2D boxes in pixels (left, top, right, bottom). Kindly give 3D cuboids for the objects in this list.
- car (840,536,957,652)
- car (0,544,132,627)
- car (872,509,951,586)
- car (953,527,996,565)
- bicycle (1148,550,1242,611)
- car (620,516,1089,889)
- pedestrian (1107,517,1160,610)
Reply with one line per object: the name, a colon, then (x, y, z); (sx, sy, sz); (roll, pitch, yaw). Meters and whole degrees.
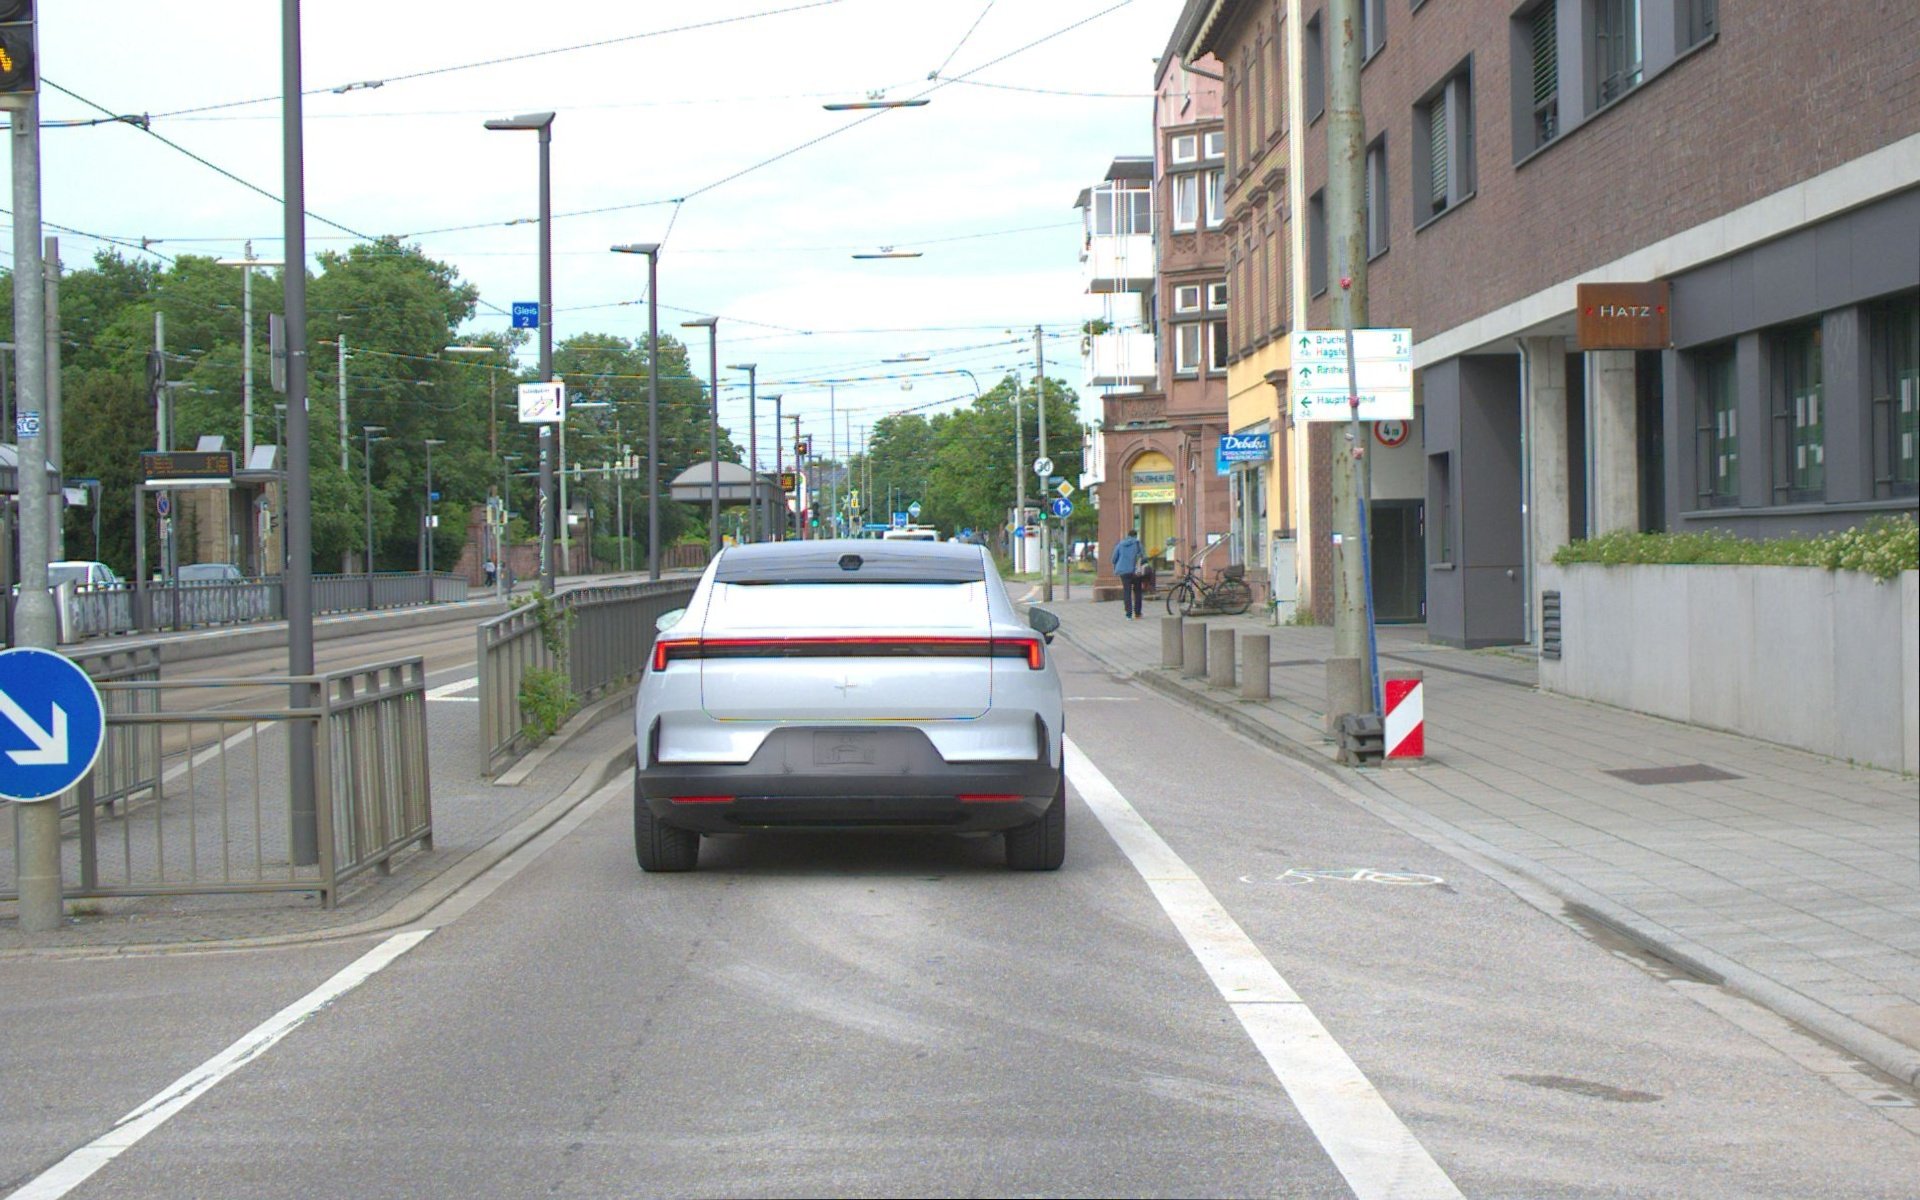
car: (-0.903, -0.106, 51.579); (1.681, 1.682, 3.824); (0, 0, 0)
car: (-17.741, -0.312, 67.804); (1.864, 1.481, 4.000); (-3, 1, -1)
car: (-1.557, -1.646, 109.300); (2.225, 2.394, 5.124); (0, 0, -4)
car: (0.951, -3.591, 228.488); (2.807, 2.496, 5.722); (0, 0, -1)
bicycle: (4.723, -0.396, 69.082); (1.777, 1.126, 0.642); (-3, 1, -1)
car: (-0.619, 0.424, 16.612); (1.999, 1.575, 4.001); (0, 0, -5)
pedestrian: (3.574, -0.761, 70.782); (0.961, 1.843, 0.975); (-3, 2, 6)
